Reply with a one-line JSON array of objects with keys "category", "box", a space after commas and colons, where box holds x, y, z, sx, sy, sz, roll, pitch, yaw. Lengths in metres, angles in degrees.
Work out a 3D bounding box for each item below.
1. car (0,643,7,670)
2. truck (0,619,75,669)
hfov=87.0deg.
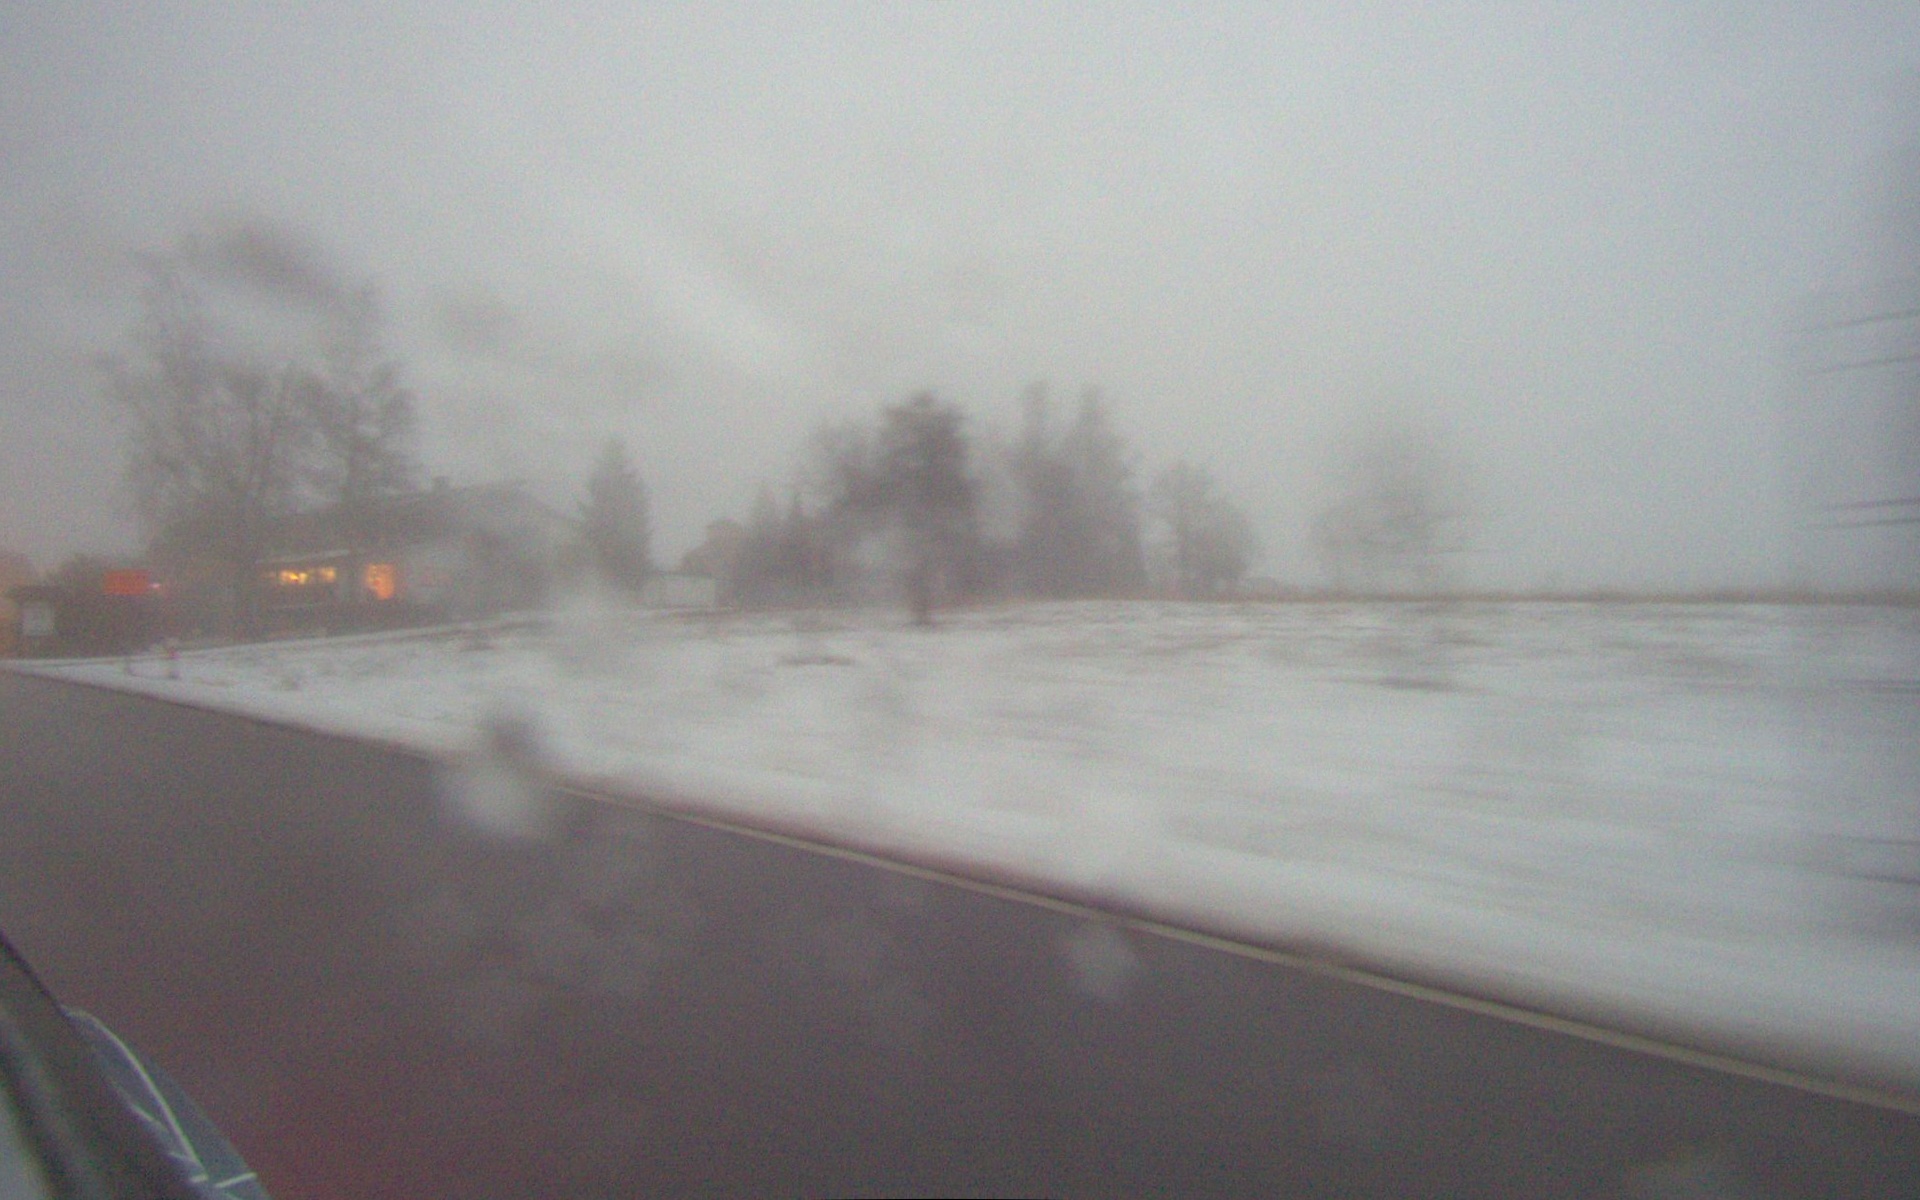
[{"category": "car", "box": [-54.788, 3.034, 54.332, 2.113, 1.496, 4.857, -3, -5, 27]}, {"category": "truck", "box": [-46.616, 2.123, 49.006, 1.990, 2.321, 5.229, -3, -5, 27]}]
